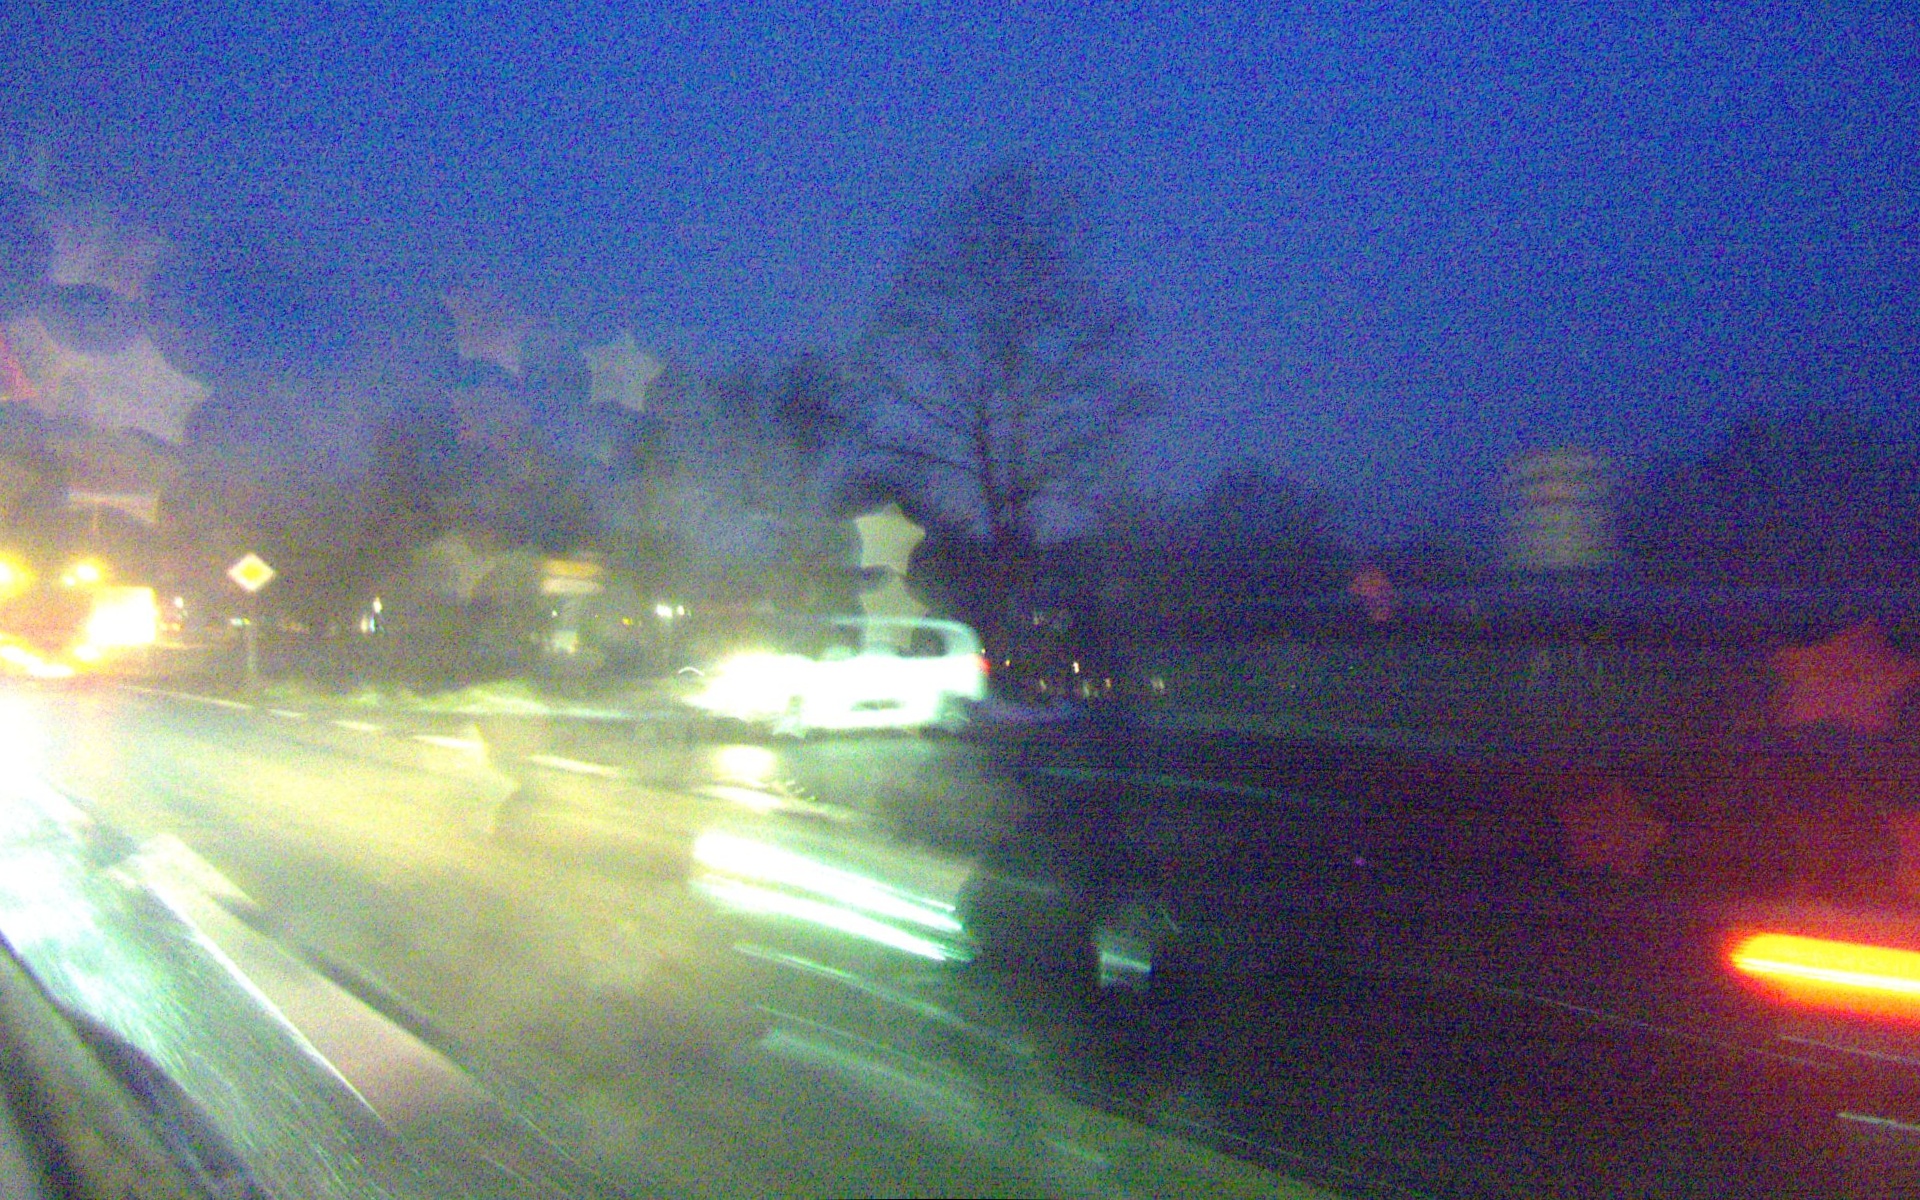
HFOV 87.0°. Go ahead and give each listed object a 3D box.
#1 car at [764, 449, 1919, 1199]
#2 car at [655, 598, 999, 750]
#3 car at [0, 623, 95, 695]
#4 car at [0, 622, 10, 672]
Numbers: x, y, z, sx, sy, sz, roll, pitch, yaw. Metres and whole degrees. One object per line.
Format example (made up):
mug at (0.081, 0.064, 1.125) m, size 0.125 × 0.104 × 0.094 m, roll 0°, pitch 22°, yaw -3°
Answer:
car at (1.267, 0.612, 2.555) m, size 3.559 × 1.572 × 1.645 m, roll -2°, pitch -2°, yaw 41°
car at (-1.744, 1.035, 14.795) m, size 1.933 × 1.852 × 4.880 m, roll -2°, pitch -4°, yaw 42°
car at (-19.892, 1.204, 21.687) m, size 3.551 × 1.435 × 1.581 m, roll -1°, pitch -2°, yaw 42°
car at (-32.159, 1.493, 32.693) m, size 4.190 × 1.584 × 1.783 m, roll -1°, pitch -2°, yaw 42°
